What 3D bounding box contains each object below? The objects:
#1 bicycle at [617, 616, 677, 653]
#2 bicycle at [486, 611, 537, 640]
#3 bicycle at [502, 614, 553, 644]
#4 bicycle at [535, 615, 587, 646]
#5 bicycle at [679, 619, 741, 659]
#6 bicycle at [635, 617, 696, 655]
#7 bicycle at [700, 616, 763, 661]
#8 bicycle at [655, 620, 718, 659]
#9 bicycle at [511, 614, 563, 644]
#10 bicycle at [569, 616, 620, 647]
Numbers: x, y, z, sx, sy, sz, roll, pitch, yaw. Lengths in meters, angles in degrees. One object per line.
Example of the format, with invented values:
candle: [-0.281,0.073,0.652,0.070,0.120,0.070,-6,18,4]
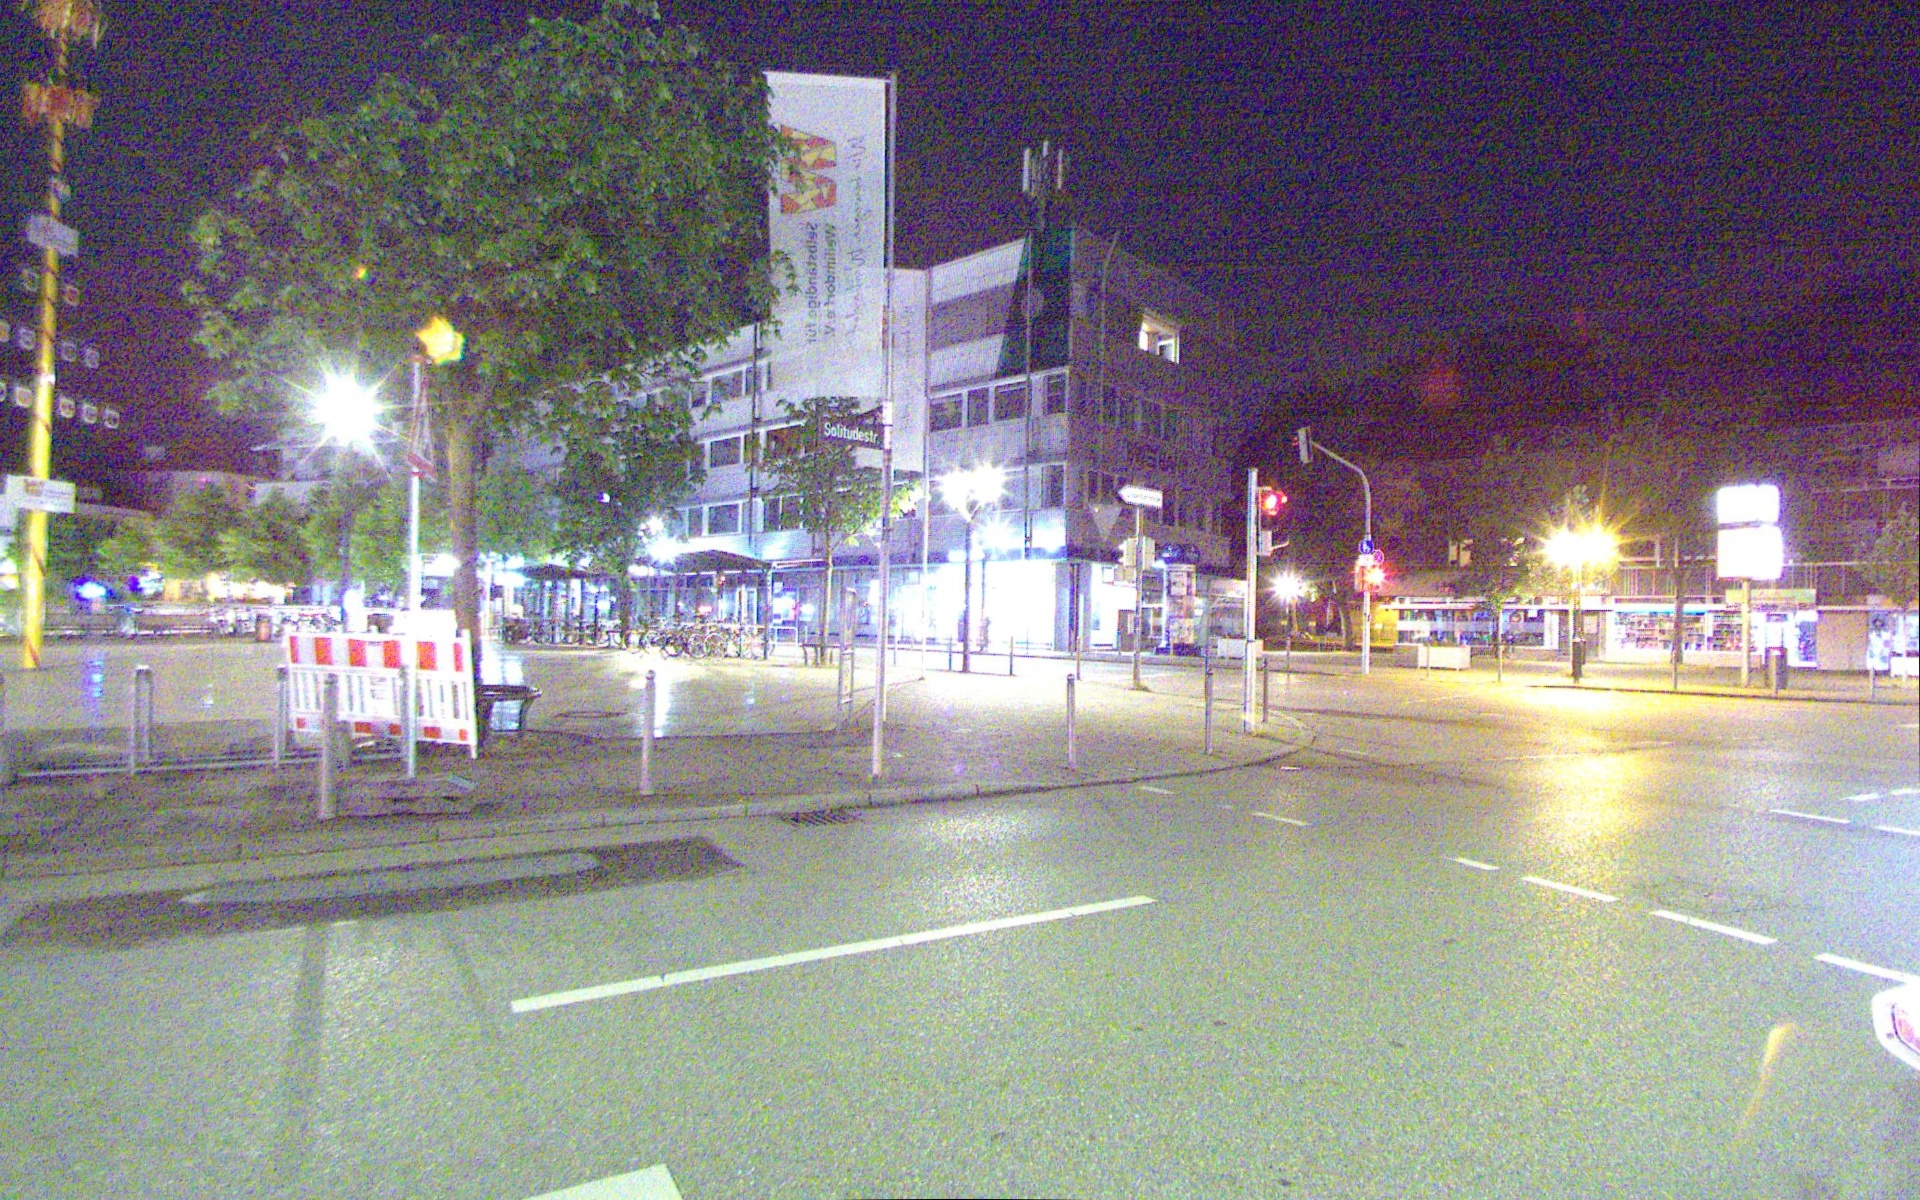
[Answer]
bicycle: [-8.534,0.939,27.419,0.473,0.970,1.525,2,0,43]
bicycle: [-15.555,0.888,34.878,0.473,0.970,1.525,2,0,43]
bicycle: [-14.783,0.994,34.348,0.473,0.970,1.525,2,0,43]
bicycle: [-13.136,0.999,33.127,0.473,0.970,1.525,2,0,43]
bicycle: [-6.354,0.986,25.560,0.440,0.970,1.525,2,0,43]
bicycle: [-7.854,0.957,26.819,0.473,0.970,1.525,2,0,43]
bicycle: [-5.654,0.945,24.921,0.440,1.068,1.525,2,0,43]
bicycle: [-7.100,1.031,26.126,0.473,0.970,1.525,2,0,43]
bicycle: [-14.188,0.985,33.733,0.473,0.970,1.525,2,0,43]
bicycle: [-12.029,1.032,33.077,0.473,0.970,1.525,2,0,43]
